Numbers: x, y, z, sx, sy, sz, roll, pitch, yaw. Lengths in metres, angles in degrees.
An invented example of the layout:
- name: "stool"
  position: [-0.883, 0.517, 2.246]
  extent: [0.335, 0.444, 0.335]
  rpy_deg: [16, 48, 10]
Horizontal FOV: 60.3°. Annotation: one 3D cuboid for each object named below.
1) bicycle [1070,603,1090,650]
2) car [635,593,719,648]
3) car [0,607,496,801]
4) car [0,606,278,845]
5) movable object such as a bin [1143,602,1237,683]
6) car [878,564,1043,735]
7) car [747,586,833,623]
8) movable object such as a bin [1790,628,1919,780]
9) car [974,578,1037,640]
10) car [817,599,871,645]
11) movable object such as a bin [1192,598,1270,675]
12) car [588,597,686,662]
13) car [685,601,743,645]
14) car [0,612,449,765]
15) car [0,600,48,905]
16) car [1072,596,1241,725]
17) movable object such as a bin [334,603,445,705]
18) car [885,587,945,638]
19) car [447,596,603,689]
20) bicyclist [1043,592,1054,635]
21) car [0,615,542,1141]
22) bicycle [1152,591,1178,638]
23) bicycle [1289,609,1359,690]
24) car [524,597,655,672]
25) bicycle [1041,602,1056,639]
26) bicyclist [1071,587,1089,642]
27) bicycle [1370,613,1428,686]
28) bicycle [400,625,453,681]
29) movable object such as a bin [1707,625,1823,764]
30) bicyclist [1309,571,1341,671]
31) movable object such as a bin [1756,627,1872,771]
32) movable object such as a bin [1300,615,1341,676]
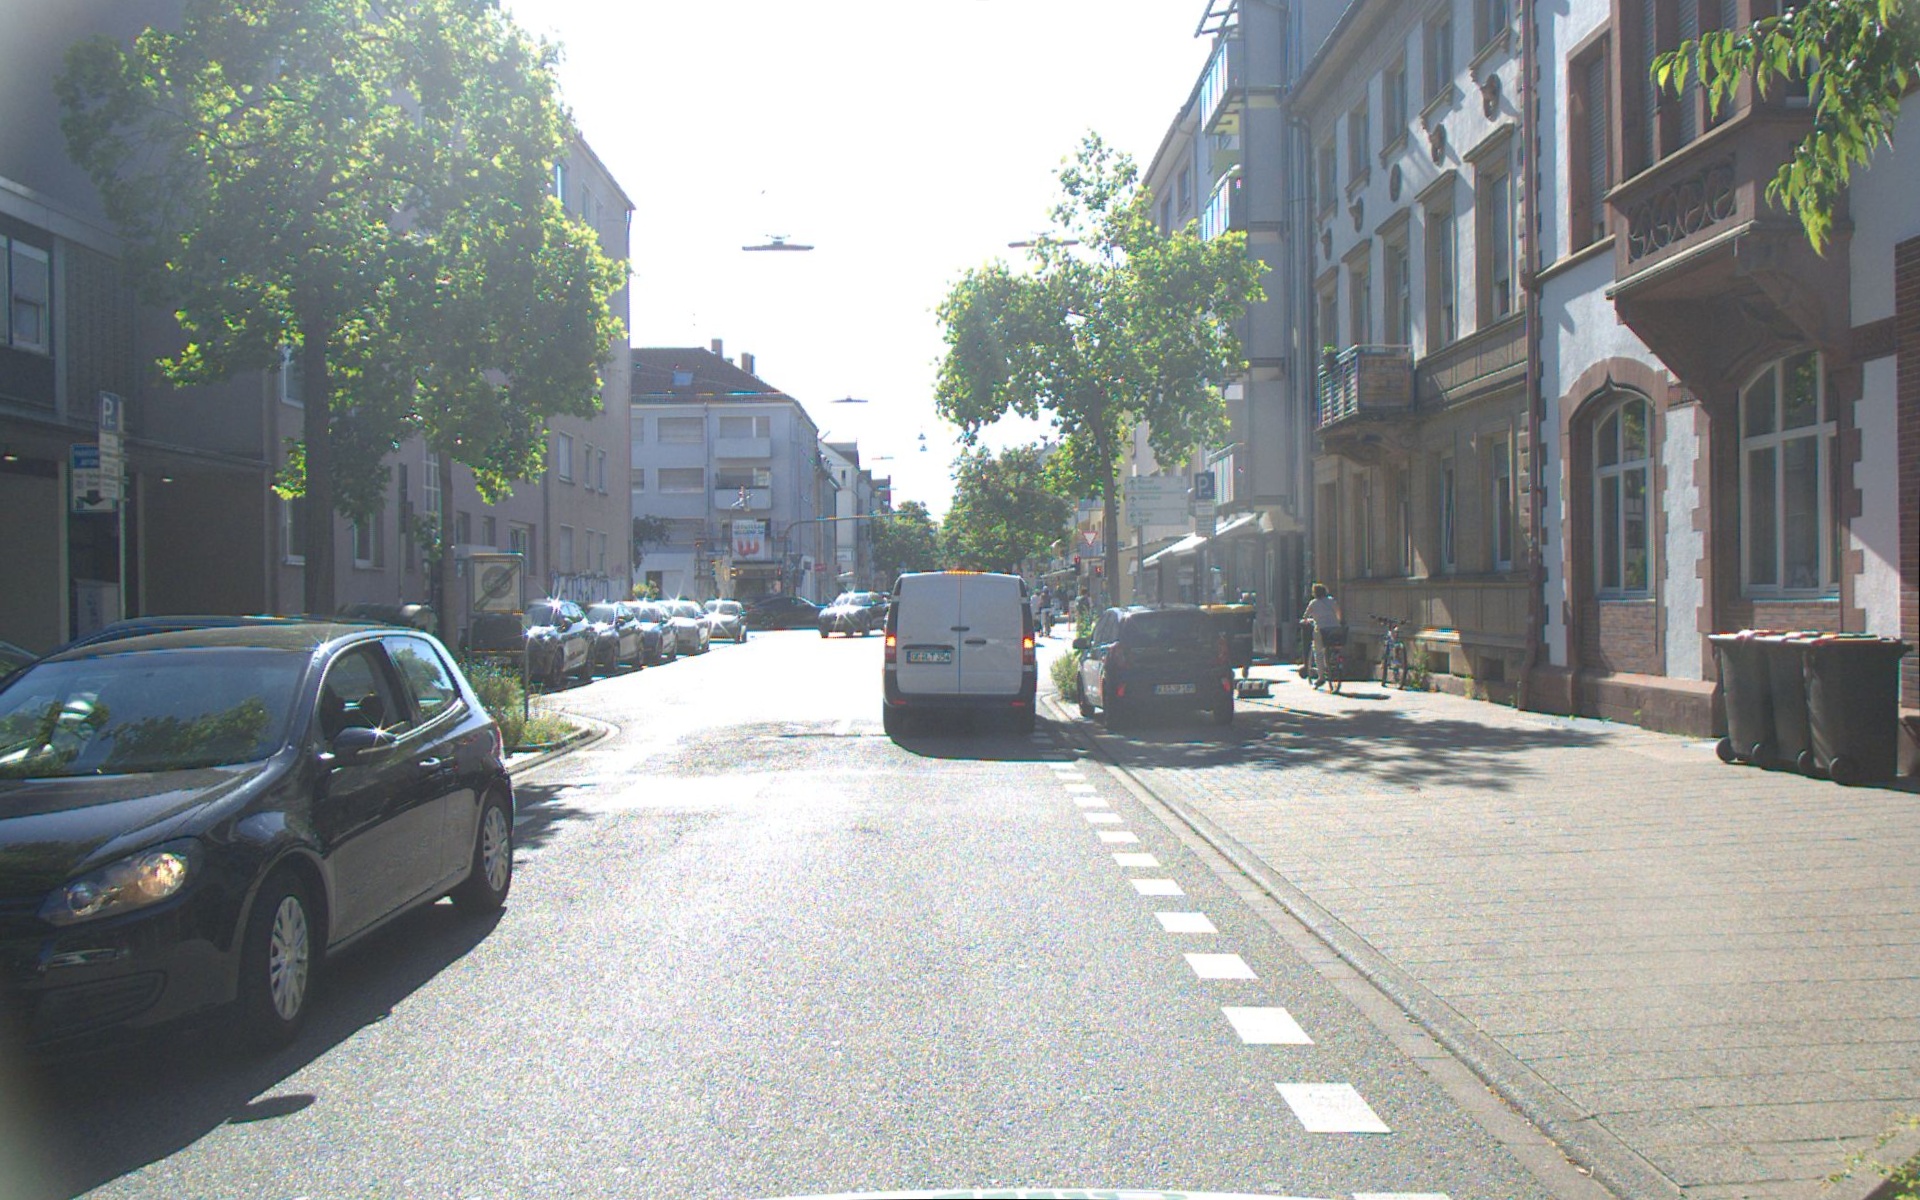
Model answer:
- name: "bicycle"
  position: [3.374, 0.742, 46.538]
  extent: [0.465, 1.296, 1.218]
  rpy_deg: [0, 0, -2]
- name: "car"
  position: [-8.354, 0.581, 49.194]
  extent: [1.741, 1.495, 4.758]
  rpy_deg: [2, 0, -2]
- name: "car"
  position: [-6.317, 0.829, 14.063]
  extent: [4.216, 1.485, 1.762]
  rpy_deg: [1, 0, 1]
- name: "car"
  position: [-6.993, 0.802, 11.309]
  extent: [3.908, 1.489, 1.811]
  rpy_deg: [0, 0, -4]
- name: "movable object such as a bin"
  position: [4.092, 0.743, 29.368]
  extent: [1.261, 1.371, 1.091]
  rpy_deg: [-2, 0, -43]
- name: "car"
  position: [-0.103, 0.544, 21.306]
  extent: [1.882, 1.947, 4.885]
  rpy_deg: [0, 1, -3]
- name: "car"
  position: [-7.923, 0.195, 77.321]
  extent: [3.909, 1.668, 1.998]
  rpy_deg: [-1, 0, -5]
- name: "movable object such as a bin"
  position: [6.726, 0.766, 12.446]
  extent: [0.625, 1.087, 0.639]
  rpy_deg: [-1, 0, -1]
- name: "car"
  position: [1.476, 0.266, 55.291]
  extent: [1.779, 1.955, 4.642]
  rpy_deg: [-1, 0, -2]
- name: "car"
  position: [-4.446, 0.808, 63.880]
  extent: [1.829, 1.642, 4.426]
  rpy_deg: [-1, 0, -2]
- name: "movable object such as a bin"
  position: [5.012, 0.654, 30.552]
  extent: [1.021, 1.371, 1.104]
  rpy_deg: [-1, 0, 38]
- name: "car"
  position: [-8.299, 0.726, 42.858]
  extent: [1.686, 1.523, 4.625]
  rpy_deg: [2, 0, -1]
- name: "car"
  position: [-8.803, 0.798, 59.430]
  extent: [1.620, 1.505, 3.998]
  rpy_deg: [1, 0, -2]
- name: "car"
  position: [-7.570, 0.864, 16.834]
  extent: [4.217, 1.458, 1.644]
  rpy_deg: [0, 0, -1]
- name: "car"
  position: [-6.729, 0.794, 8.142]
  extent: [3.524, 1.579, 1.684]
  rpy_deg: [0, 0, -1]
- name: "car"
  position: [2.484, 0.721, 21.639]
  extent: [1.603, 1.501, 3.578]
  rpy_deg: [-2, 0, -3]
- name: "movable object such as a bin"
  position: [-8.542, 0.795, 24.826]
  extent: [1.204, 1.475, 1.077]
  rpy_deg: [-1, 0, 7]
- name: "car"
  position: [-1.471, 0.382, 53.386]
  extent: [1.808, 1.534, 3.998]
  rpy_deg: [-1, 0, -2]
- name: "car"
  position: [-8.269, 0.750, 31.832]
  extent: [1.838, 1.634, 4.364]
  rpy_deg: [1, 0, 0]
- name: "bicyclist"
  position: [3.316, 0.518, 61.906]
  extent: [0.348, 1.603, 0.481]
  rpy_deg: [0, 0, -4]
- name: "car"
  position: [-3.075, 0.845, 6.771]
  extent: [1.727, 1.463, 3.959]
  rpy_deg: [-2, 0, -1]
- name: "bicycle"
  position: [5.846, 0.403, 47.189]
  extent: [0.465, 1.296, 1.218]
  rpy_deg: [-4, 0, -2]
- name: "bicycle"
  position: [5.622, 0.742, 25.666]
  extent: [0.525, 1.169, 2.123]
  rpy_deg: [-2, 0, -1]
- name: "car"
  position: [-8.377, 0.741, 37.772]
  extent: [1.952, 1.523, 4.228]
  rpy_deg: [2, 0, 1]
- name: "bicycle"
  position: [3.300, 0.758, 61.582]
  extent: [0.408, 1.333, 1.334]
  rpy_deg: [0, 0, -3]
- name: "bicyclist"
  position: [3.378, 0.397, 46.584]
  extent: [0.430, 1.535, 0.496]
  rpy_deg: [1, 0, -1]
- name: "bicycle"
  position: [6.791, 0.749, 25.637]
  extent: [0.424, 1.048, 1.427]
  rpy_deg: [-4, 0, -2]
- name: "bicycle"
  position: [-11.302, 1.113, 35.115]
  extent: [0.543, 1.121, 1.902]
  rpy_deg: [0, 0, -1]
- name: "movable object such as a bin"
  position: [6.610, 0.764, 13.599]
  extent: [0.625, 1.087, 0.632]
  rpy_deg: [-1, 0, -1]
- name: "bicyclist"
  position: [5.587, 0.318, 25.320]
  extent: [0.353, 1.503, 0.530]
  rpy_deg: [0, 0, -1]
- name: "movable object such as a bin"
  position: [6.706, 0.766, 13.008]
  extent: [0.625, 1.087, 0.521]
  rpy_deg: [-1, 0, -2]
- name: "movable object such as a bin"
  position: [6.407, 0.798, 29.375]
  extent: [0.586, 1.060, 0.546]
  rpy_deg: [-1, 0, -2]
